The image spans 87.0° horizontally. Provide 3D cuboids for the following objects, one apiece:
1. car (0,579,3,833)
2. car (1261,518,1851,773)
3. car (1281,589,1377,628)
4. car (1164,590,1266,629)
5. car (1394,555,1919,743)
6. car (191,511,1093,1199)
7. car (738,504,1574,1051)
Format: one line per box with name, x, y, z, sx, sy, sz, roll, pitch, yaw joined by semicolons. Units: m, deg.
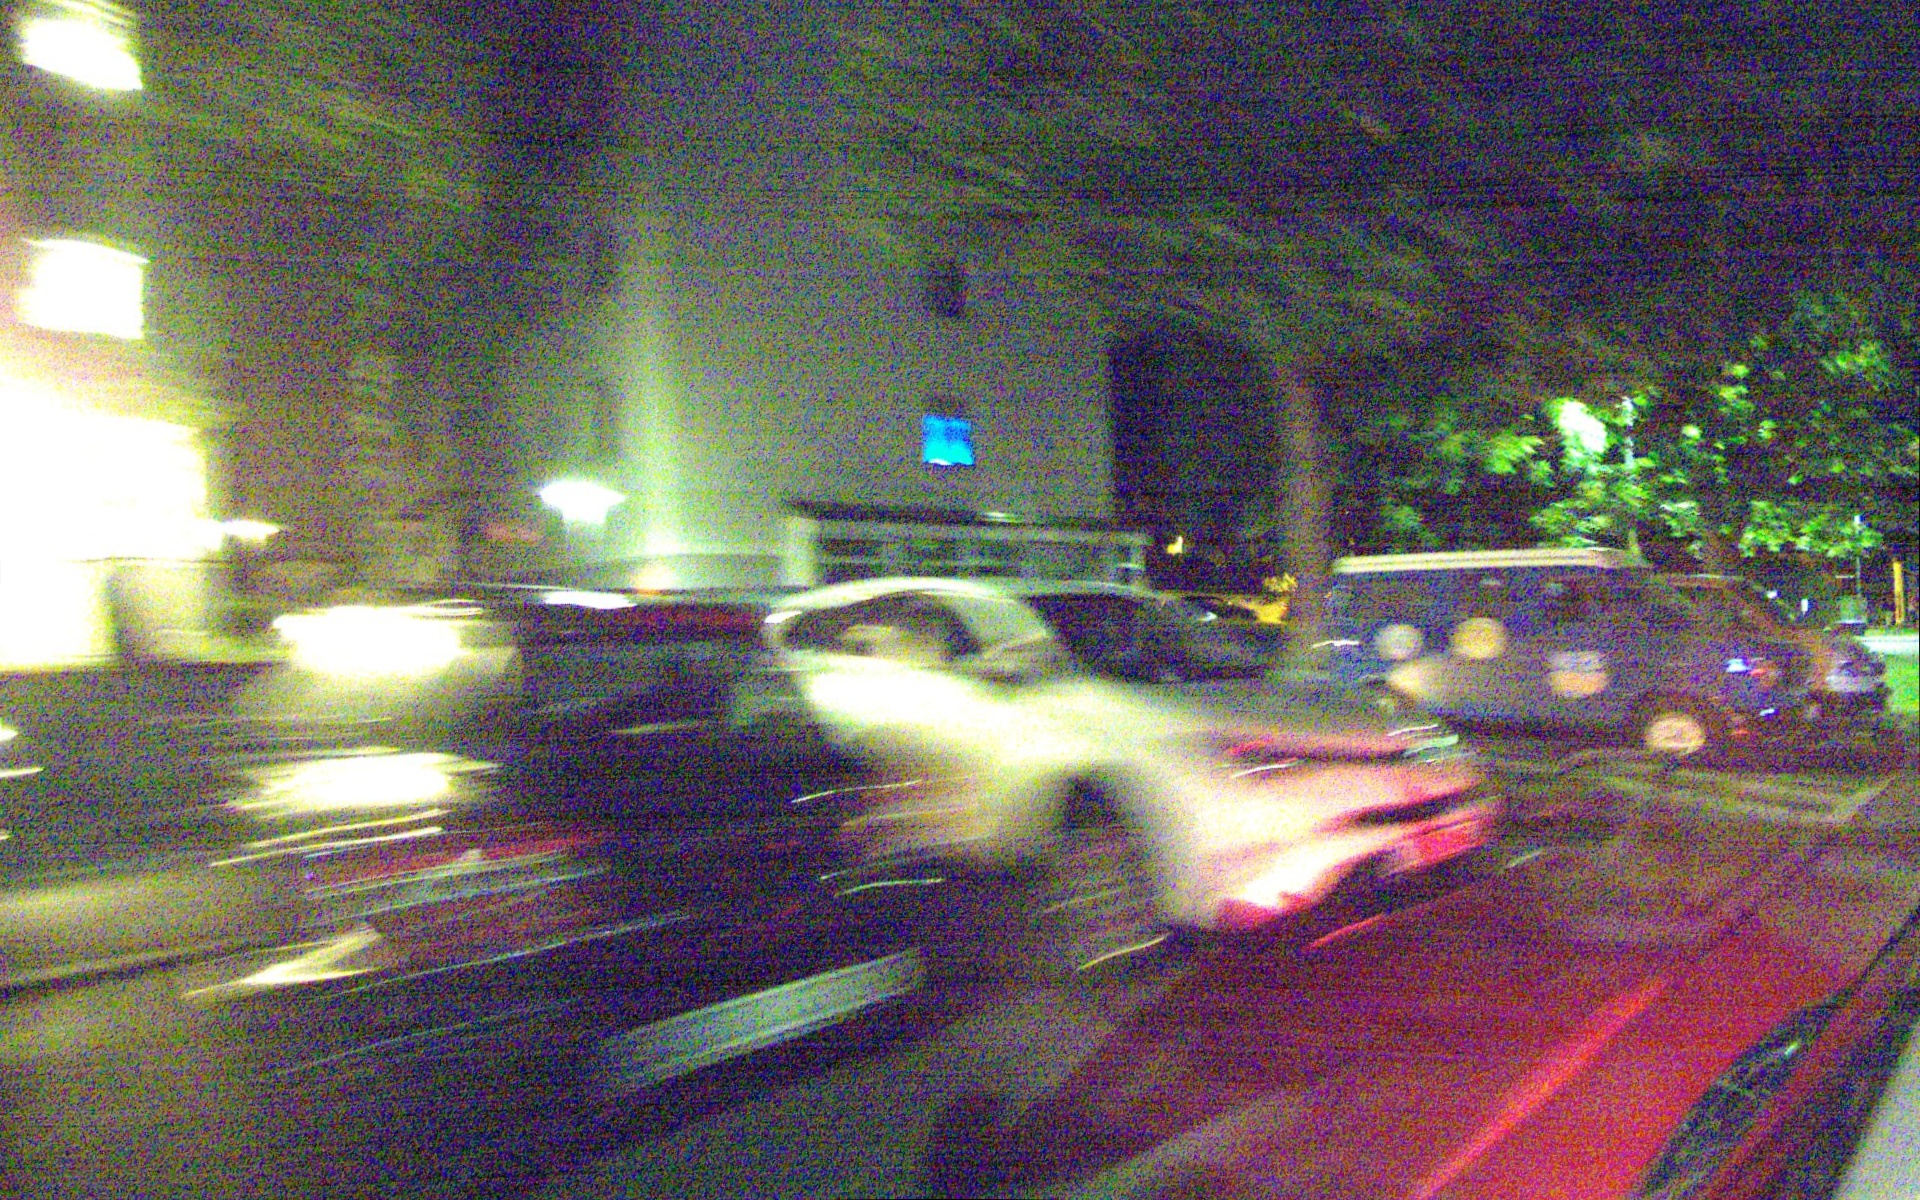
car;-3.555;0.651;1.908;2.068;1.577;4.665;0;-1;-38
car;6.193;0.401;11.122;2.220;2.123;5.151;0;-1;-41
car;16.979;0.362;46.598;3.964;1.618;1.742;2;1;28
car;12.270;0.418;48.707;4.597;1.694;1.919;2;1;21
car;8.515;0.508;12.757;2.220;1.868;5.151;0;-1;-41
car;-1.636;0.676;3.915;1.964;1.577;3.994;0;-1;-40
car;0.582;0.598;5.519;1.962;1.719;4.288;0;-1;-36
